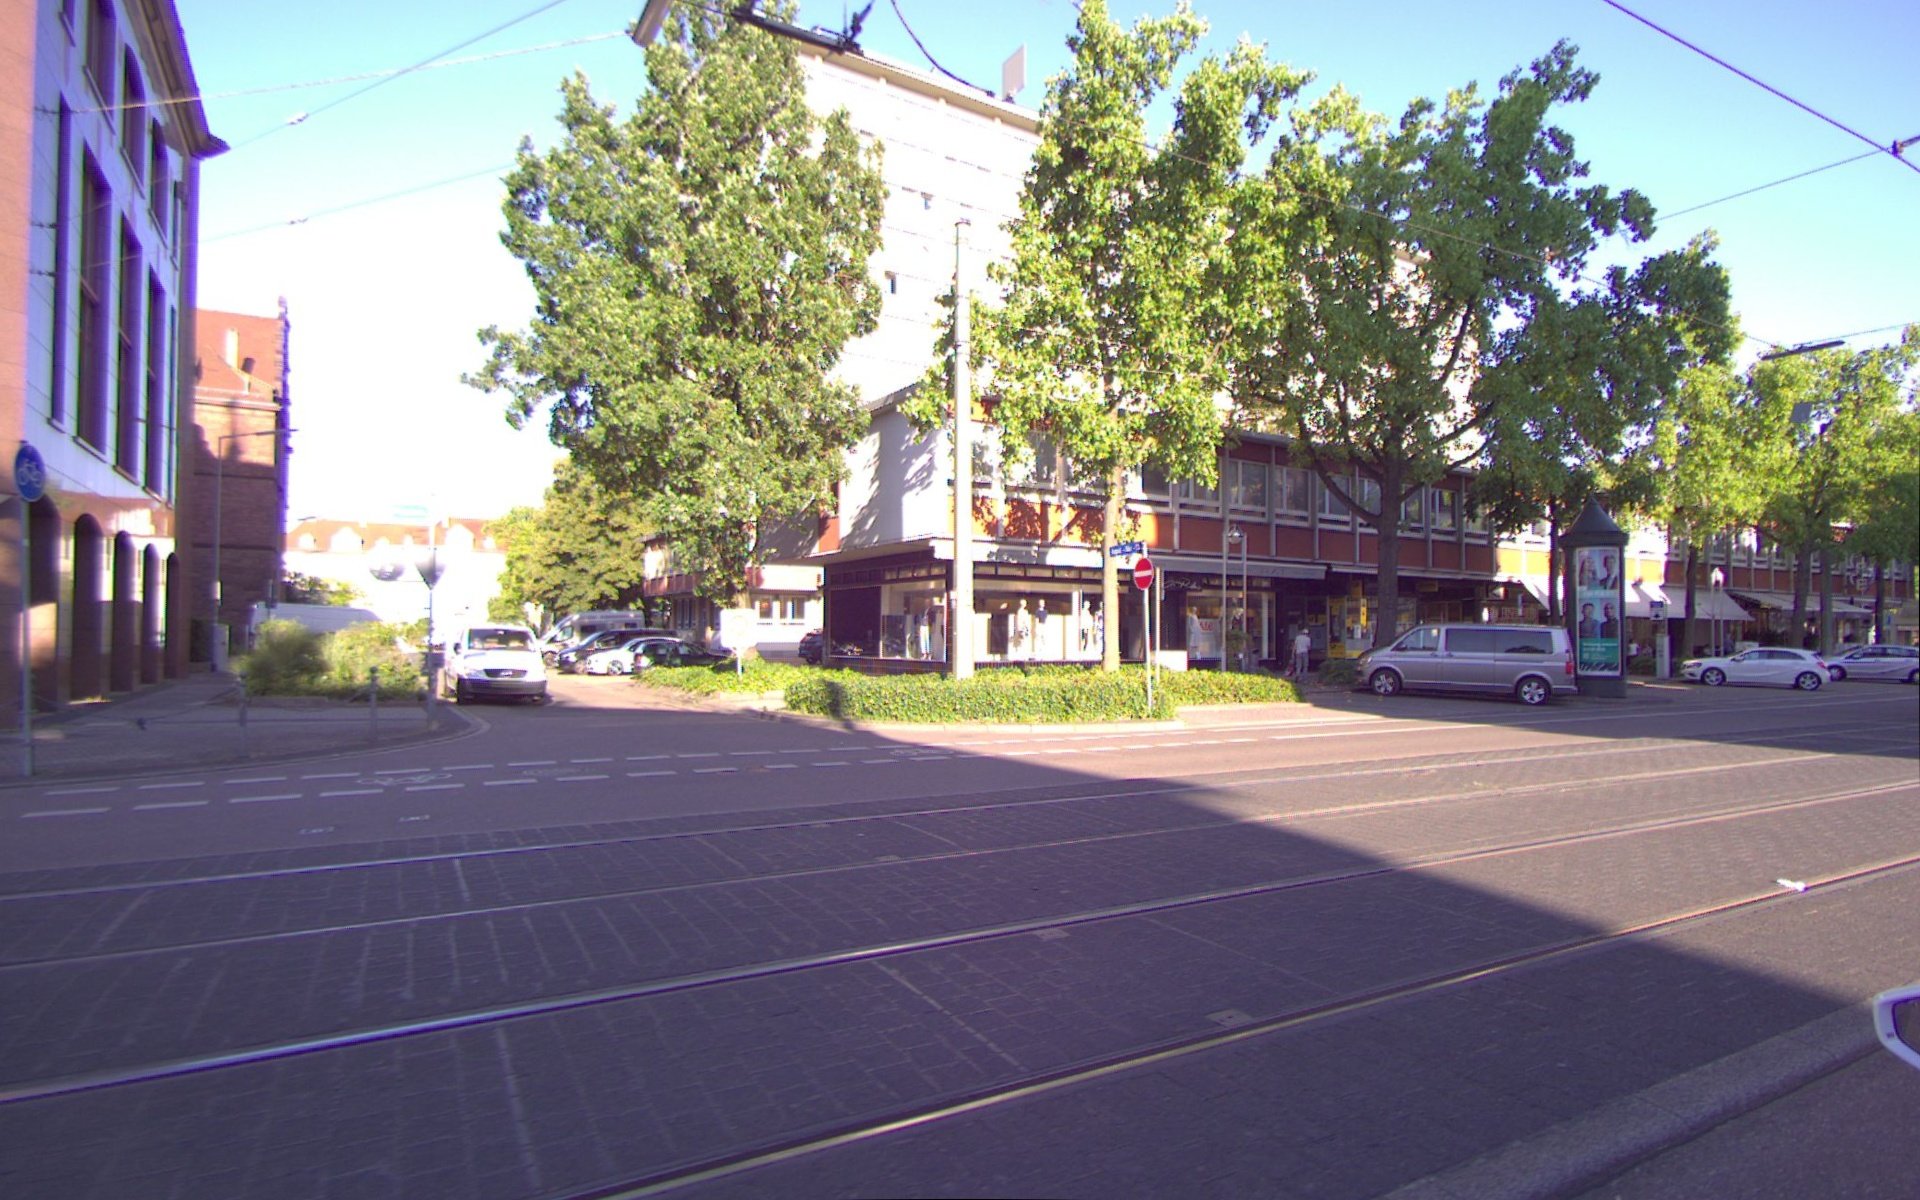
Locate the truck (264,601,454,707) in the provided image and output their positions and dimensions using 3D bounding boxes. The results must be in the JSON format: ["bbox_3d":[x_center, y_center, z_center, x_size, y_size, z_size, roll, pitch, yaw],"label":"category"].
[{"bbox_3d":[-16.994,1.477,28.551,4.483,2.799,1.839,1,-2,-34],"label":"truck"}]

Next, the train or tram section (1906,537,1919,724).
[{"bbox_3d":[24.482,0.653,21.431,12.319,3.597,2.746,1,-3,-30],"label":"train or tram section"}]

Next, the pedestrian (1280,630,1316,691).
[{"bbox_3d":[10.776,1.913,32.065,0.900,1.902,0.901,-1,-2,8],"label":"pedestrian"}]

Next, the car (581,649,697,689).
[{"bbox_3d":[-13.746,2.932,43.107,4.412,1.598,2.036,1,-3,-31],"label":"car"}]

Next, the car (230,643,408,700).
[{"bbox_3d":[-19.592,2.137,30.858,4.483,1.593,1.839,1,-2,-34],"label":"car"}]

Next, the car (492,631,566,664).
[{"bbox_3d":[-35.301,3.918,82.359,5.239,2.652,2.125,2,-3,-32],"label":"car"}]

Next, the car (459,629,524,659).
[{"bbox_3d":[-43.054,4.029,92.343,5.239,2.652,2.125,2,-3,-32],"label":"car"}]

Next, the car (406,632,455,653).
[{"bbox_3d":[-74.394,6.005,141.159,5.984,2.880,2.552,2,-3,-32],"label":"car"}]

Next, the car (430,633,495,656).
[{"bbox_3d":[-59.812,5.340,120.840,6.676,2.652,2.551,1,-3,-34],"label":"car"}]

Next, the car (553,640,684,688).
[{"bbox_3d":[-15.214,2.811,44.840,5.212,2.072,2.036,1,-3,-31],"label":"car"}]

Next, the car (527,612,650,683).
[{"bbox_3d":[-18.976,2.472,51.425,5.567,3.455,2.126,2,-3,-30],"label":"car"}]

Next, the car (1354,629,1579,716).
[{"bbox_3d":[13.056,1.786,26.074,5.030,1.954,1.851,1,-1,30],"label":"car"}]

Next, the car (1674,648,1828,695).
[{"bbox_3d":[28.683,2.555,36.611,4.194,1.448,1.763,1,-1,31],"label":"car"}]

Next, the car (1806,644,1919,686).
[{"bbox_3d":[38.153,2.703,41.819,4.204,1.587,1.824,0,-1,30],"label":"car"}]

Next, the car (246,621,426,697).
[{"bbox_3d":[-22.265,2.051,36.075,5.354,2.576,1.840,1,-2,-32],"label":"car"}]

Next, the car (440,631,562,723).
[{"bbox_3d":[-11.320,1.816,24.573,2.108,1.992,4.955,4,-4,-30],"label":"car"}]

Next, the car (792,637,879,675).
[{"bbox_3d":[-6.295,2.820,50.922,3.954,1.817,1.984,1,-3,-31],"label":"car"}]

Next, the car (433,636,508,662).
[{"bbox_3d":[-52.111,5.213,106.987,6.898,2.652,2.551,1,-3,-34],"label":"car"}]

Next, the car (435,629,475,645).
[{"bbox_3d":[-63.922,4.673,127.139,4.274,2.040,1.983,1,-3,-32],"label":"car"}]

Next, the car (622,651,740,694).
[{"bbox_3d":[-10.875,2.784,39.189,4.054,1.598,2.021,1,-3,-31],"label":"car"}]

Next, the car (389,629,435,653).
[{"bbox_3d":[-77.610,5.839,142.269,5.570,3.399,2.414,2,-3,-32],"label":"car"}]
